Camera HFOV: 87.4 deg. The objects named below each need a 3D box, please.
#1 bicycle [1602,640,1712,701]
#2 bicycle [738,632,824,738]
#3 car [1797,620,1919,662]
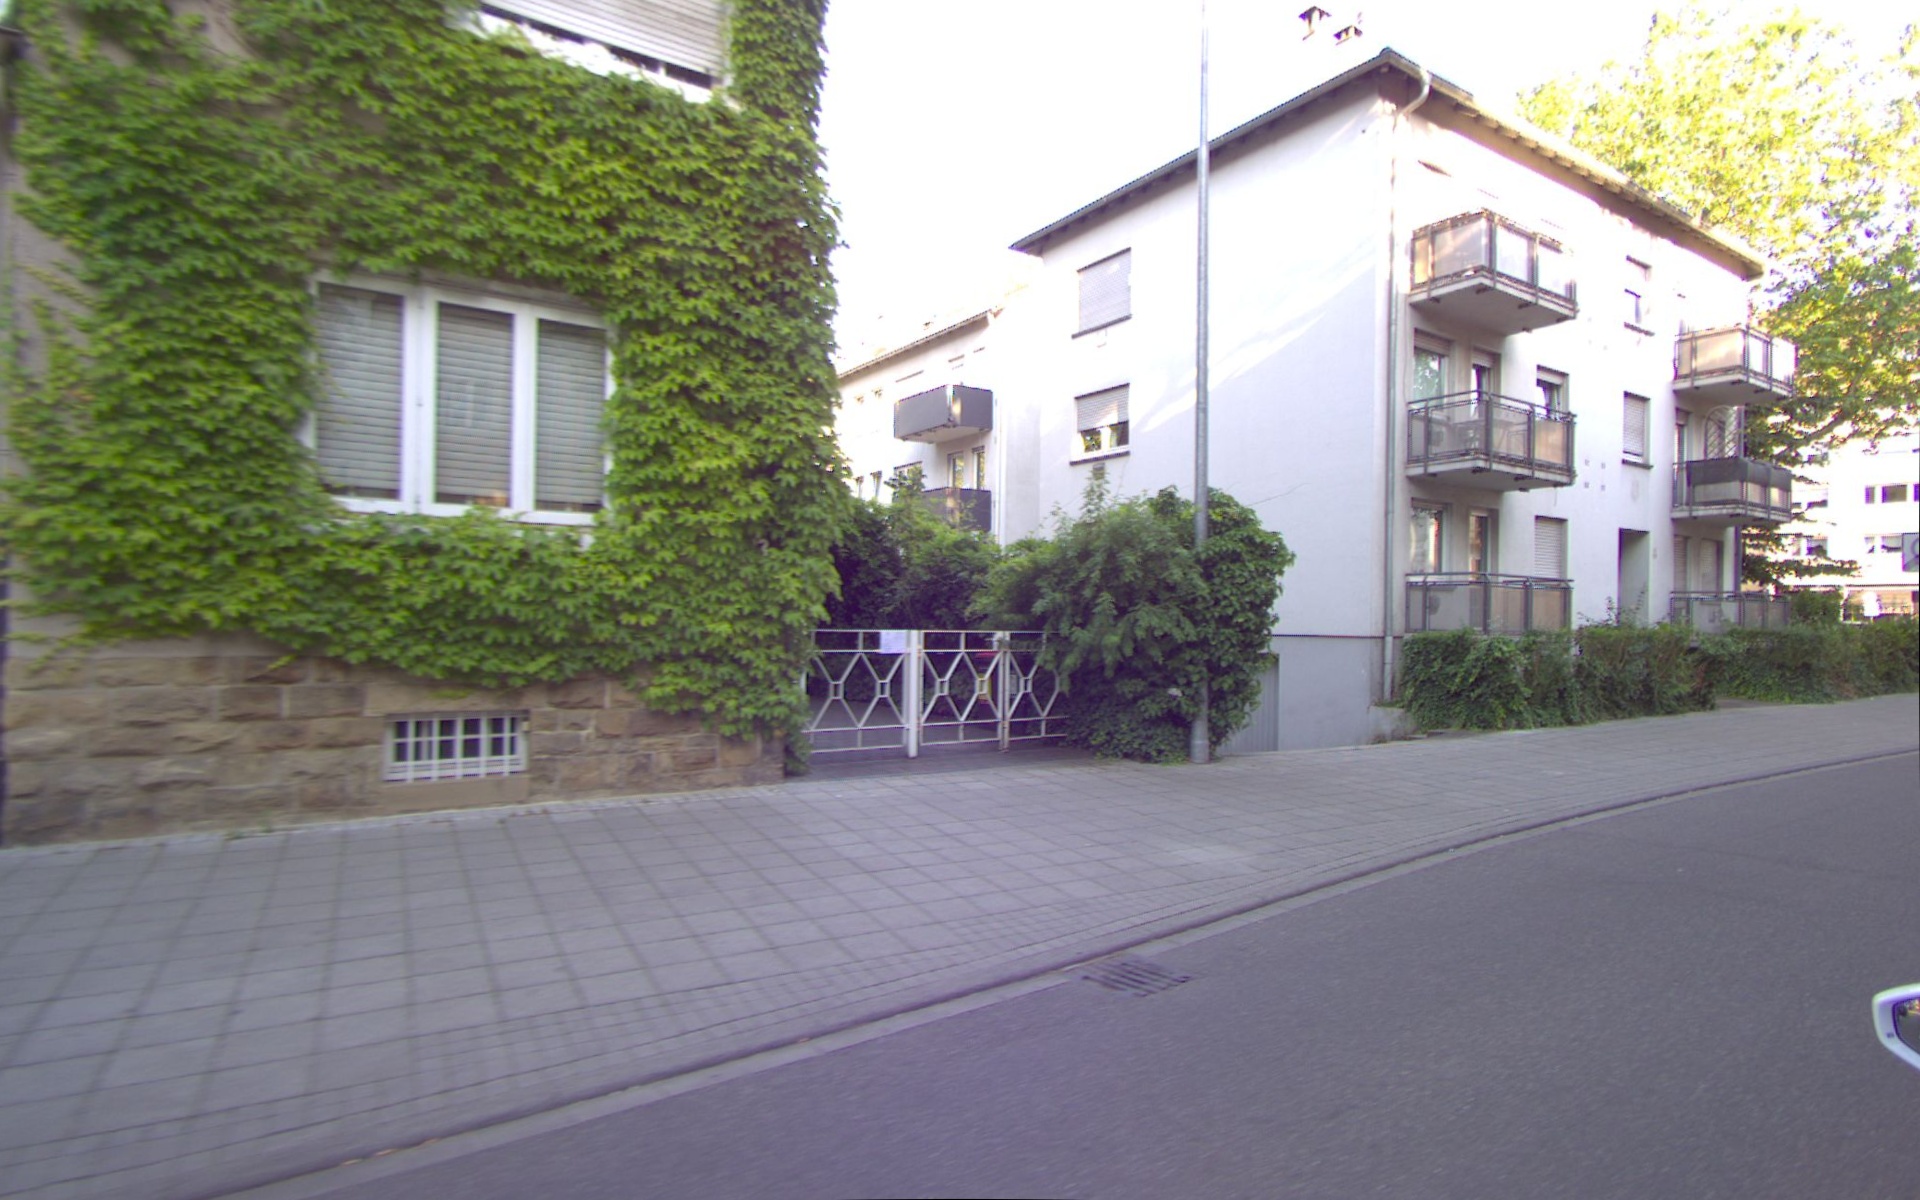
[{"bbox_3d":[13.257,1.321,19.151,1.590,1.022,0.517,3,1,20],"label":"bicycle"},{"bbox_3d":[-2.245,0.994,12.387,0.469,1.117,2.190,1,0,-25],"label":"bicycle"},{"bbox_3d":[33.360,1.468,36.987,1.502,1.468,3.659,1,-1,-38],"label":"car"}]
